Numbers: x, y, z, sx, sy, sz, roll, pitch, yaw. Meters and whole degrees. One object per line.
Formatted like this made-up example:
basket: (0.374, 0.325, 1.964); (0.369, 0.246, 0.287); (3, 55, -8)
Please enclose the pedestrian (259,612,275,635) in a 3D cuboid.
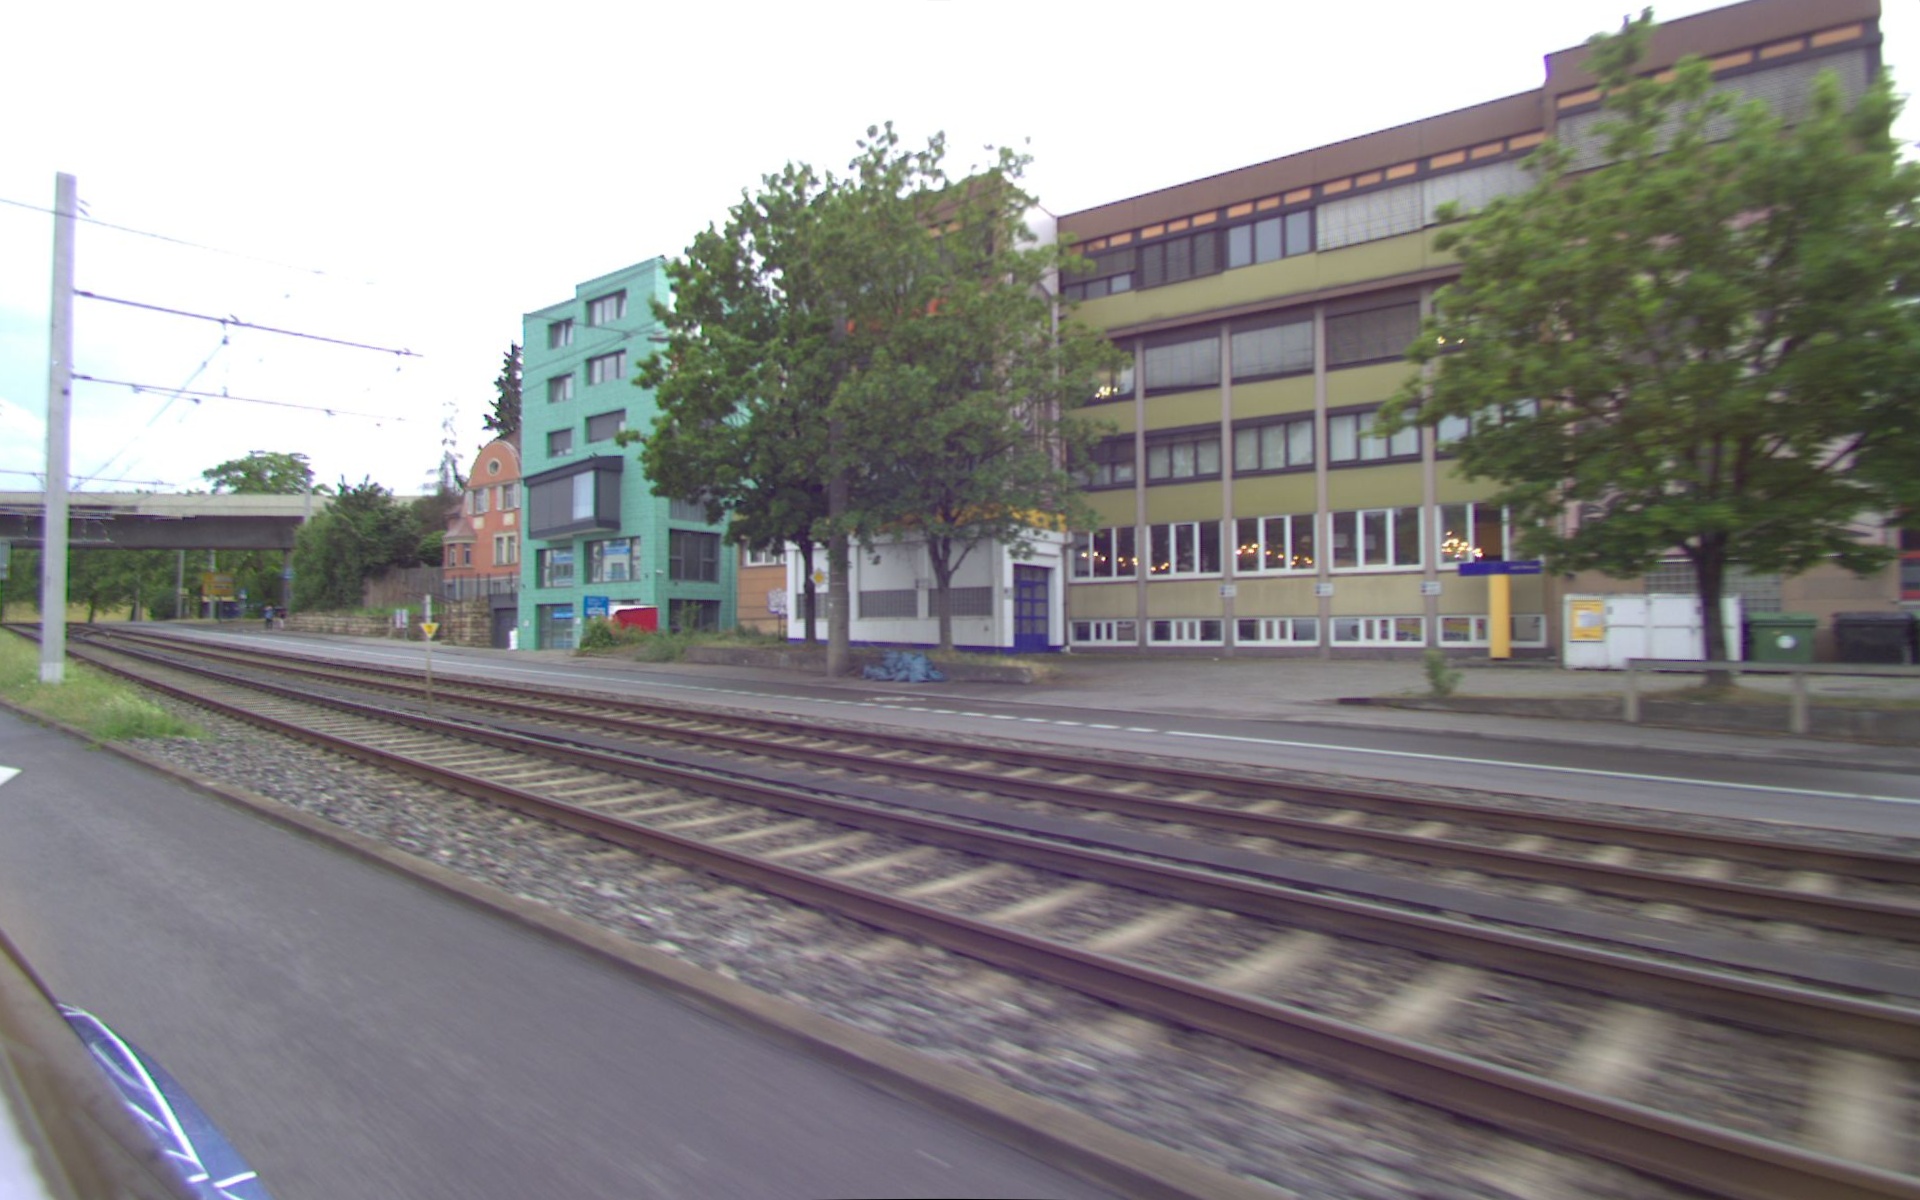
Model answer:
pedestrian: (-48.794, 1.651, 71.242); (1.022, 1.657, 0.736); (-2, -2, 45)
